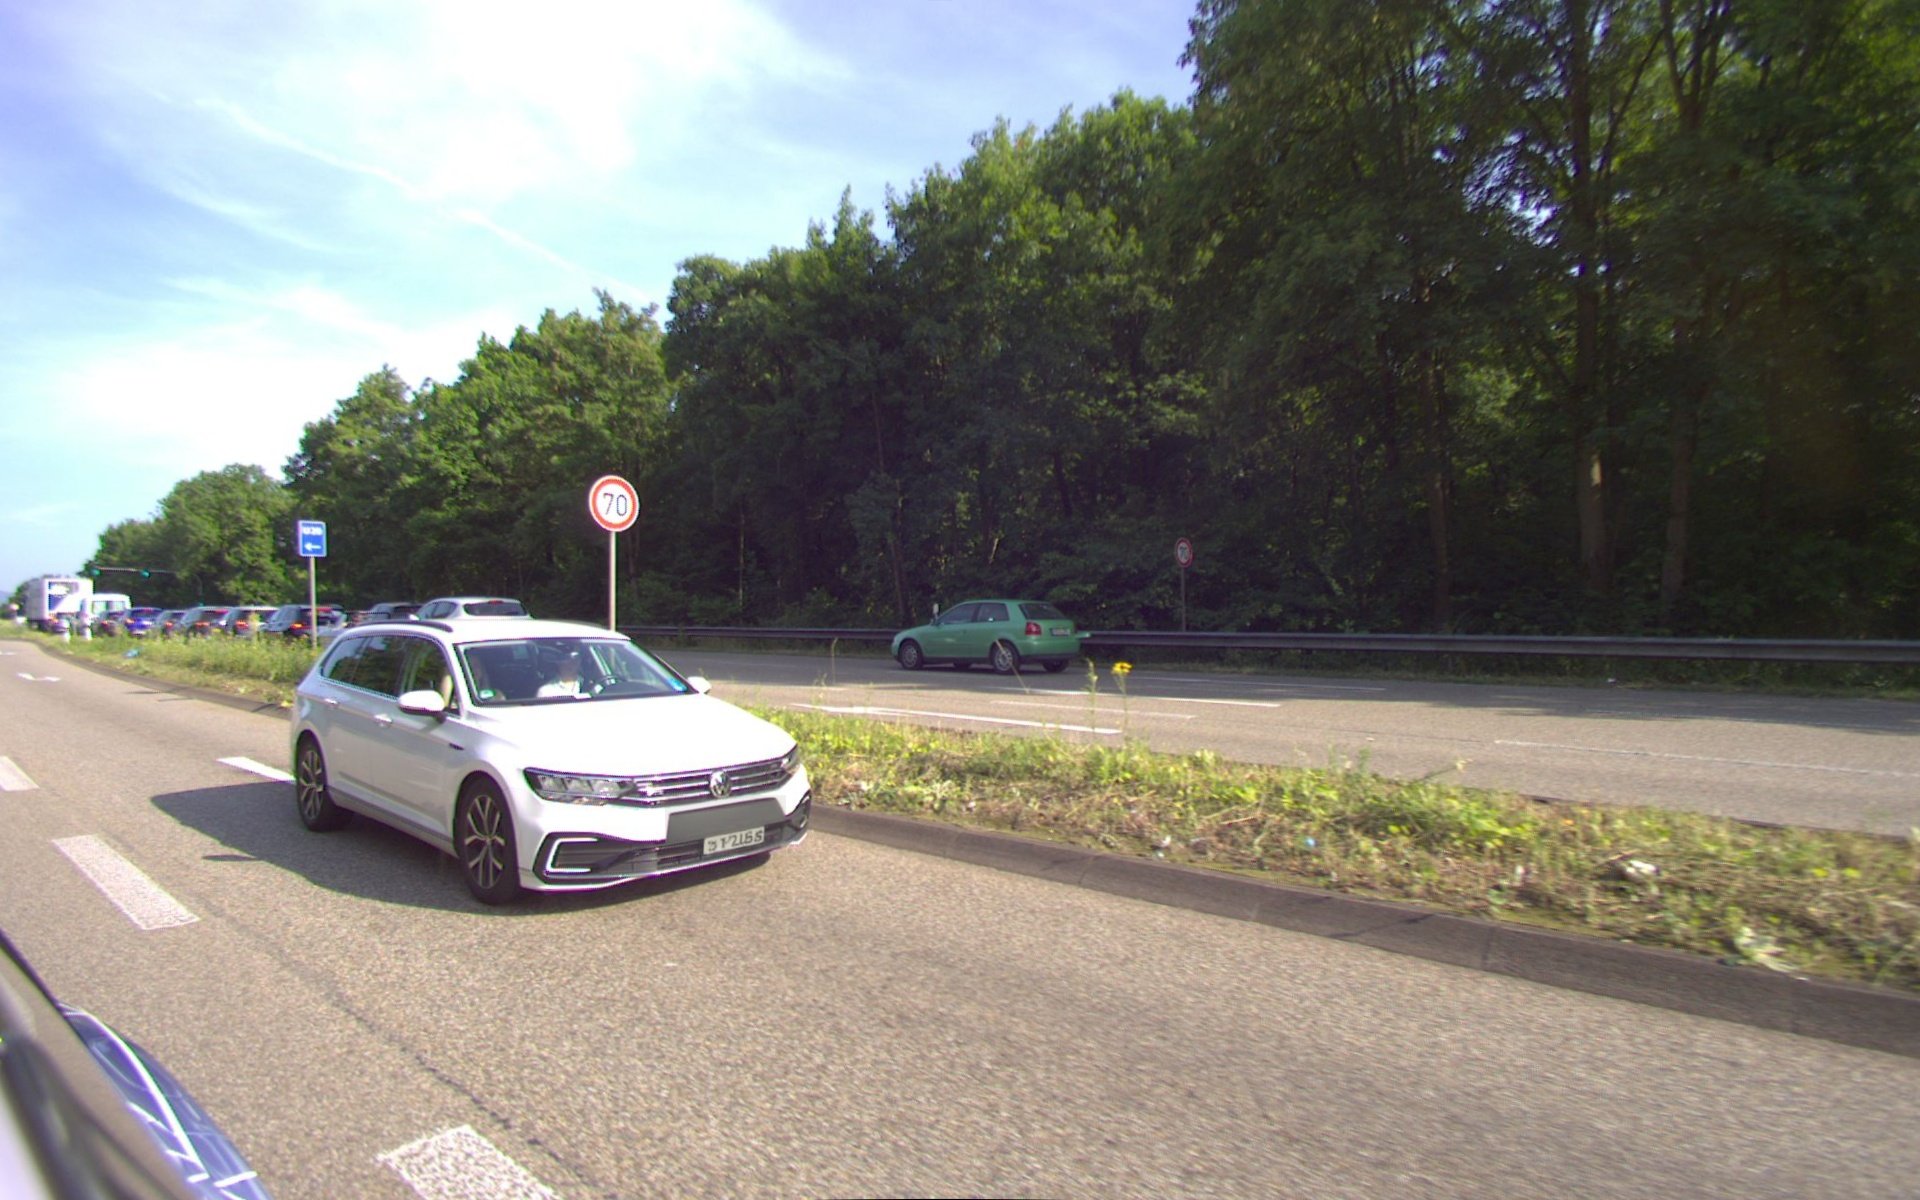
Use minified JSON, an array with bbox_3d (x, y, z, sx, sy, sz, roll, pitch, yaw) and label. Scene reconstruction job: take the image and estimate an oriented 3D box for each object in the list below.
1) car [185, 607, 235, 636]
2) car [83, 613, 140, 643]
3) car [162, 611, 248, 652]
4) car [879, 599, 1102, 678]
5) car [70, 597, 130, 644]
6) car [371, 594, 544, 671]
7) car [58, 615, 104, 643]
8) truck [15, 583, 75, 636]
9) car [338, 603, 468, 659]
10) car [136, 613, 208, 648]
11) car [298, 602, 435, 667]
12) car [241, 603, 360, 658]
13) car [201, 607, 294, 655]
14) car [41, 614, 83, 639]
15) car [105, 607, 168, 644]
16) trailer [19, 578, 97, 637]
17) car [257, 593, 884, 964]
[{"bbox_3d":[-52.856,1.525,71.286,5.103,1.950,1.989,-2,-4,44],"label":"car"},{"bbox_3d":[-44.332,1.479,52.851,5.187,1.467,1.740,-2,-1,44],"label":"car"},{"bbox_3d":[-28.203,1.162,37.743,5.193,1.434,1.751,-2,-1,44],"label":"car"},{"bbox_3d":[0.506,0.729,19.982,4.376,1.389,1.719,-2,-1,44],"label":"car"},{"bbox_3d":[-50.098,1.210,58.923,6.165,2.553,2.052,-2,-2,44],"label":"car"},{"bbox_3d":[-10.460,0.656,20.917,4.416,1.428,1.847,-2,-1,44],"label":"car"},{"bbox_3d":[-55.599,1.838,63.981,4.747,1.644,1.681,-2,-1,43],"label":"car"},{"bbox_3d":[-73.822,0.807,81.604,6.720,4.027,2.860,-2,1,42],"label":"truck"},{"bbox_3d":[-18.778,1.027,33.934,6.226,1.721,2.079,-2,-1,44],"label":"car"},{"bbox_3d":[-33.394,1.284,42.852,4.844,1.390,1.751,-2,-1,44],"label":"car"},{"bbox_3d":[-14.529,0.819,24.668,4.435,1.428,1.747,-2,-1,44],"label":"car"},{"bbox_3d":[-18.940,0.866,28.952,5.194,1.434,1.747,-2,-1,44],"label":"car"},{"bbox_3d":[-23.179,1.000,32.867,4.212,1.434,1.688,-2,-1,44],"label":"car"},{"bbox_3d":[-61.251,1.807,68.990,4.370,1.644,1.681,-2,-1,43],"label":"car"},{"bbox_3d":[-39.313,1.221,48.267,4.801,1.682,1.751,-2,-2,44],"label":"car"},{"bbox_3d":[-68.433,0.643,76.605,14.012,4.025,2.959,-2,1,43],"label":"trailer"},{"bbox_3d":[-2.865,0.828,6.702,4.833,1.533,1.850,-2,1,42],"label":"car"}]
